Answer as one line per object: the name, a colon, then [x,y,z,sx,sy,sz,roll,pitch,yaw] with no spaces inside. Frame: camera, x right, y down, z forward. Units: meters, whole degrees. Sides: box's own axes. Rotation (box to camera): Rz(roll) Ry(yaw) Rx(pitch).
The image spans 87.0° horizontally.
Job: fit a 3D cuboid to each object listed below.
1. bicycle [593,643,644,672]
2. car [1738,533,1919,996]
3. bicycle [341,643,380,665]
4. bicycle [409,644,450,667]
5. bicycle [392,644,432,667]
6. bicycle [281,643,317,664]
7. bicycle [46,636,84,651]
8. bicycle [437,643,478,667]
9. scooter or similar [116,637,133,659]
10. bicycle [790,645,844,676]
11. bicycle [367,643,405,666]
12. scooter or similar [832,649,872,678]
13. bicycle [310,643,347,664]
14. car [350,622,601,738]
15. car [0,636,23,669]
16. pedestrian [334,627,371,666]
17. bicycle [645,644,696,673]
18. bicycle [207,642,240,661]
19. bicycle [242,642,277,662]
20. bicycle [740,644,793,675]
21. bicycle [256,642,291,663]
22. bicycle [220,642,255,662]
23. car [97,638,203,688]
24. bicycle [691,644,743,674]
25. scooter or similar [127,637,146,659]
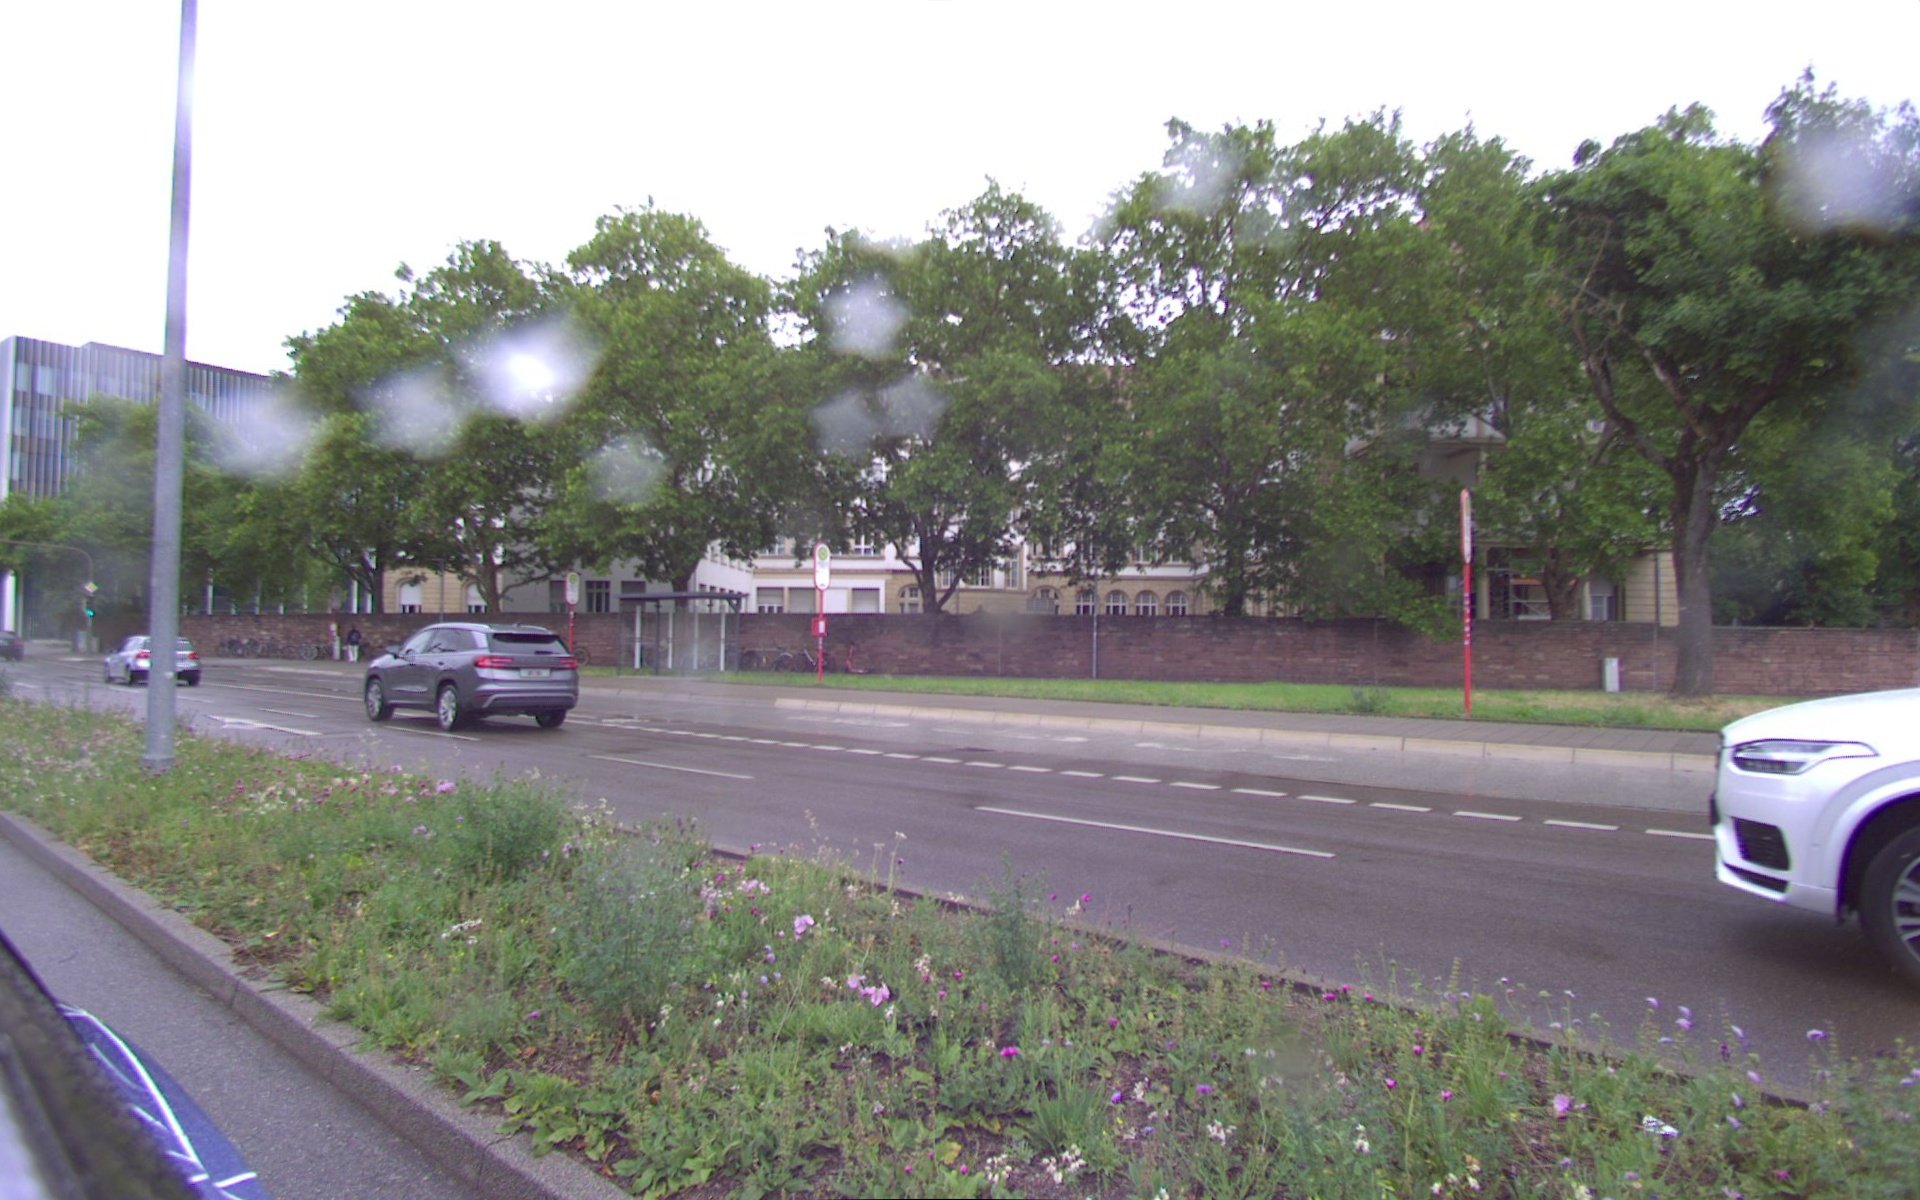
bicycle: [-13.700,2.310,40.614,1.975,1.144,0.571,-1,-3,18]
car: [5.646,0.574,2.986,5.165,1.695,1.806,-2,-2,43]
bicycle: [-27.806,2.508,46.932,1.692,0.990,0.727,-1,-2,27]
bicycle: [-23.487,2.457,44.803,1.692,0.990,0.727,-1,-2,27]
bicycle: [-24.645,2.479,45.496,1.692,0.990,0.727,-1,-2,27]
bicycle: [-32.144,2.580,49.216,1.692,0.990,0.727,-1,-2,27]
bicycle: [-73.842,3.597,83.524,0.595,1.231,2.267,-1,-3,25]
bicycle: [-21.576,2.367,43.436,1.692,0.990,0.727,-1,-2,27]
scooter or similar: [-48.786,2.803,59.102,1.138,1.206,0.388,-1,4,33]
bicycle: [-5.358,2.272,37.970,1.978,1.144,0.570,-1,-3,22]
bicycle: [-26.216,2.486,46.219,1.692,0.990,0.727,-1,-2,27]
scooter or similar: [-4.006,2.338,37.471,1.353,1.055,0.570,-1,-3,22]
bicycle: [-30.162,2.556,48.364,1.692,0.990,0.727,-1,-2,27]
car: [-8.060,1.248,16.653,4.600,1.648,1.973,-1,-5,41]
car: [-46.949,2.483,48.810,4.696,1.552,1.791,-1,-4,38]
pedestrian: [-27.014,2.066,45.001,1.395,1.708,0.862,-1,-3,32]
bicycle: [-11.415,2.294,39.889,1.975,1.144,0.571,-1,-3,18]
bicycle: [-38.751,2.715,53.235,1.692,0.990,0.727,-1,-2,27]
bicycle: [-35.549,2.653,51.346,1.692,0.990,0.727,-1,-2,27]
bicycle: [-7.347,2.256,38.448,1.978,1.144,0.570,-1,-3,22]
bicycle: [-33.880,2.601,49.944,1.858,0.990,0.726,-1,-2,31]
bicycle: [-37.140,2.672,52.015,1.692,0.990,0.727,-1,-2,27]
car: [-24.598,1.887,30.697,4.154,1.415,1.662,-2,-4,40]
bicycle: [-9.446,2.280,39.292,1.978,1.144,0.570,-1,-3,22]
scooter or similar: [-47.271,2.768,58.078,1.138,1.206,0.388,-1,4,32]
